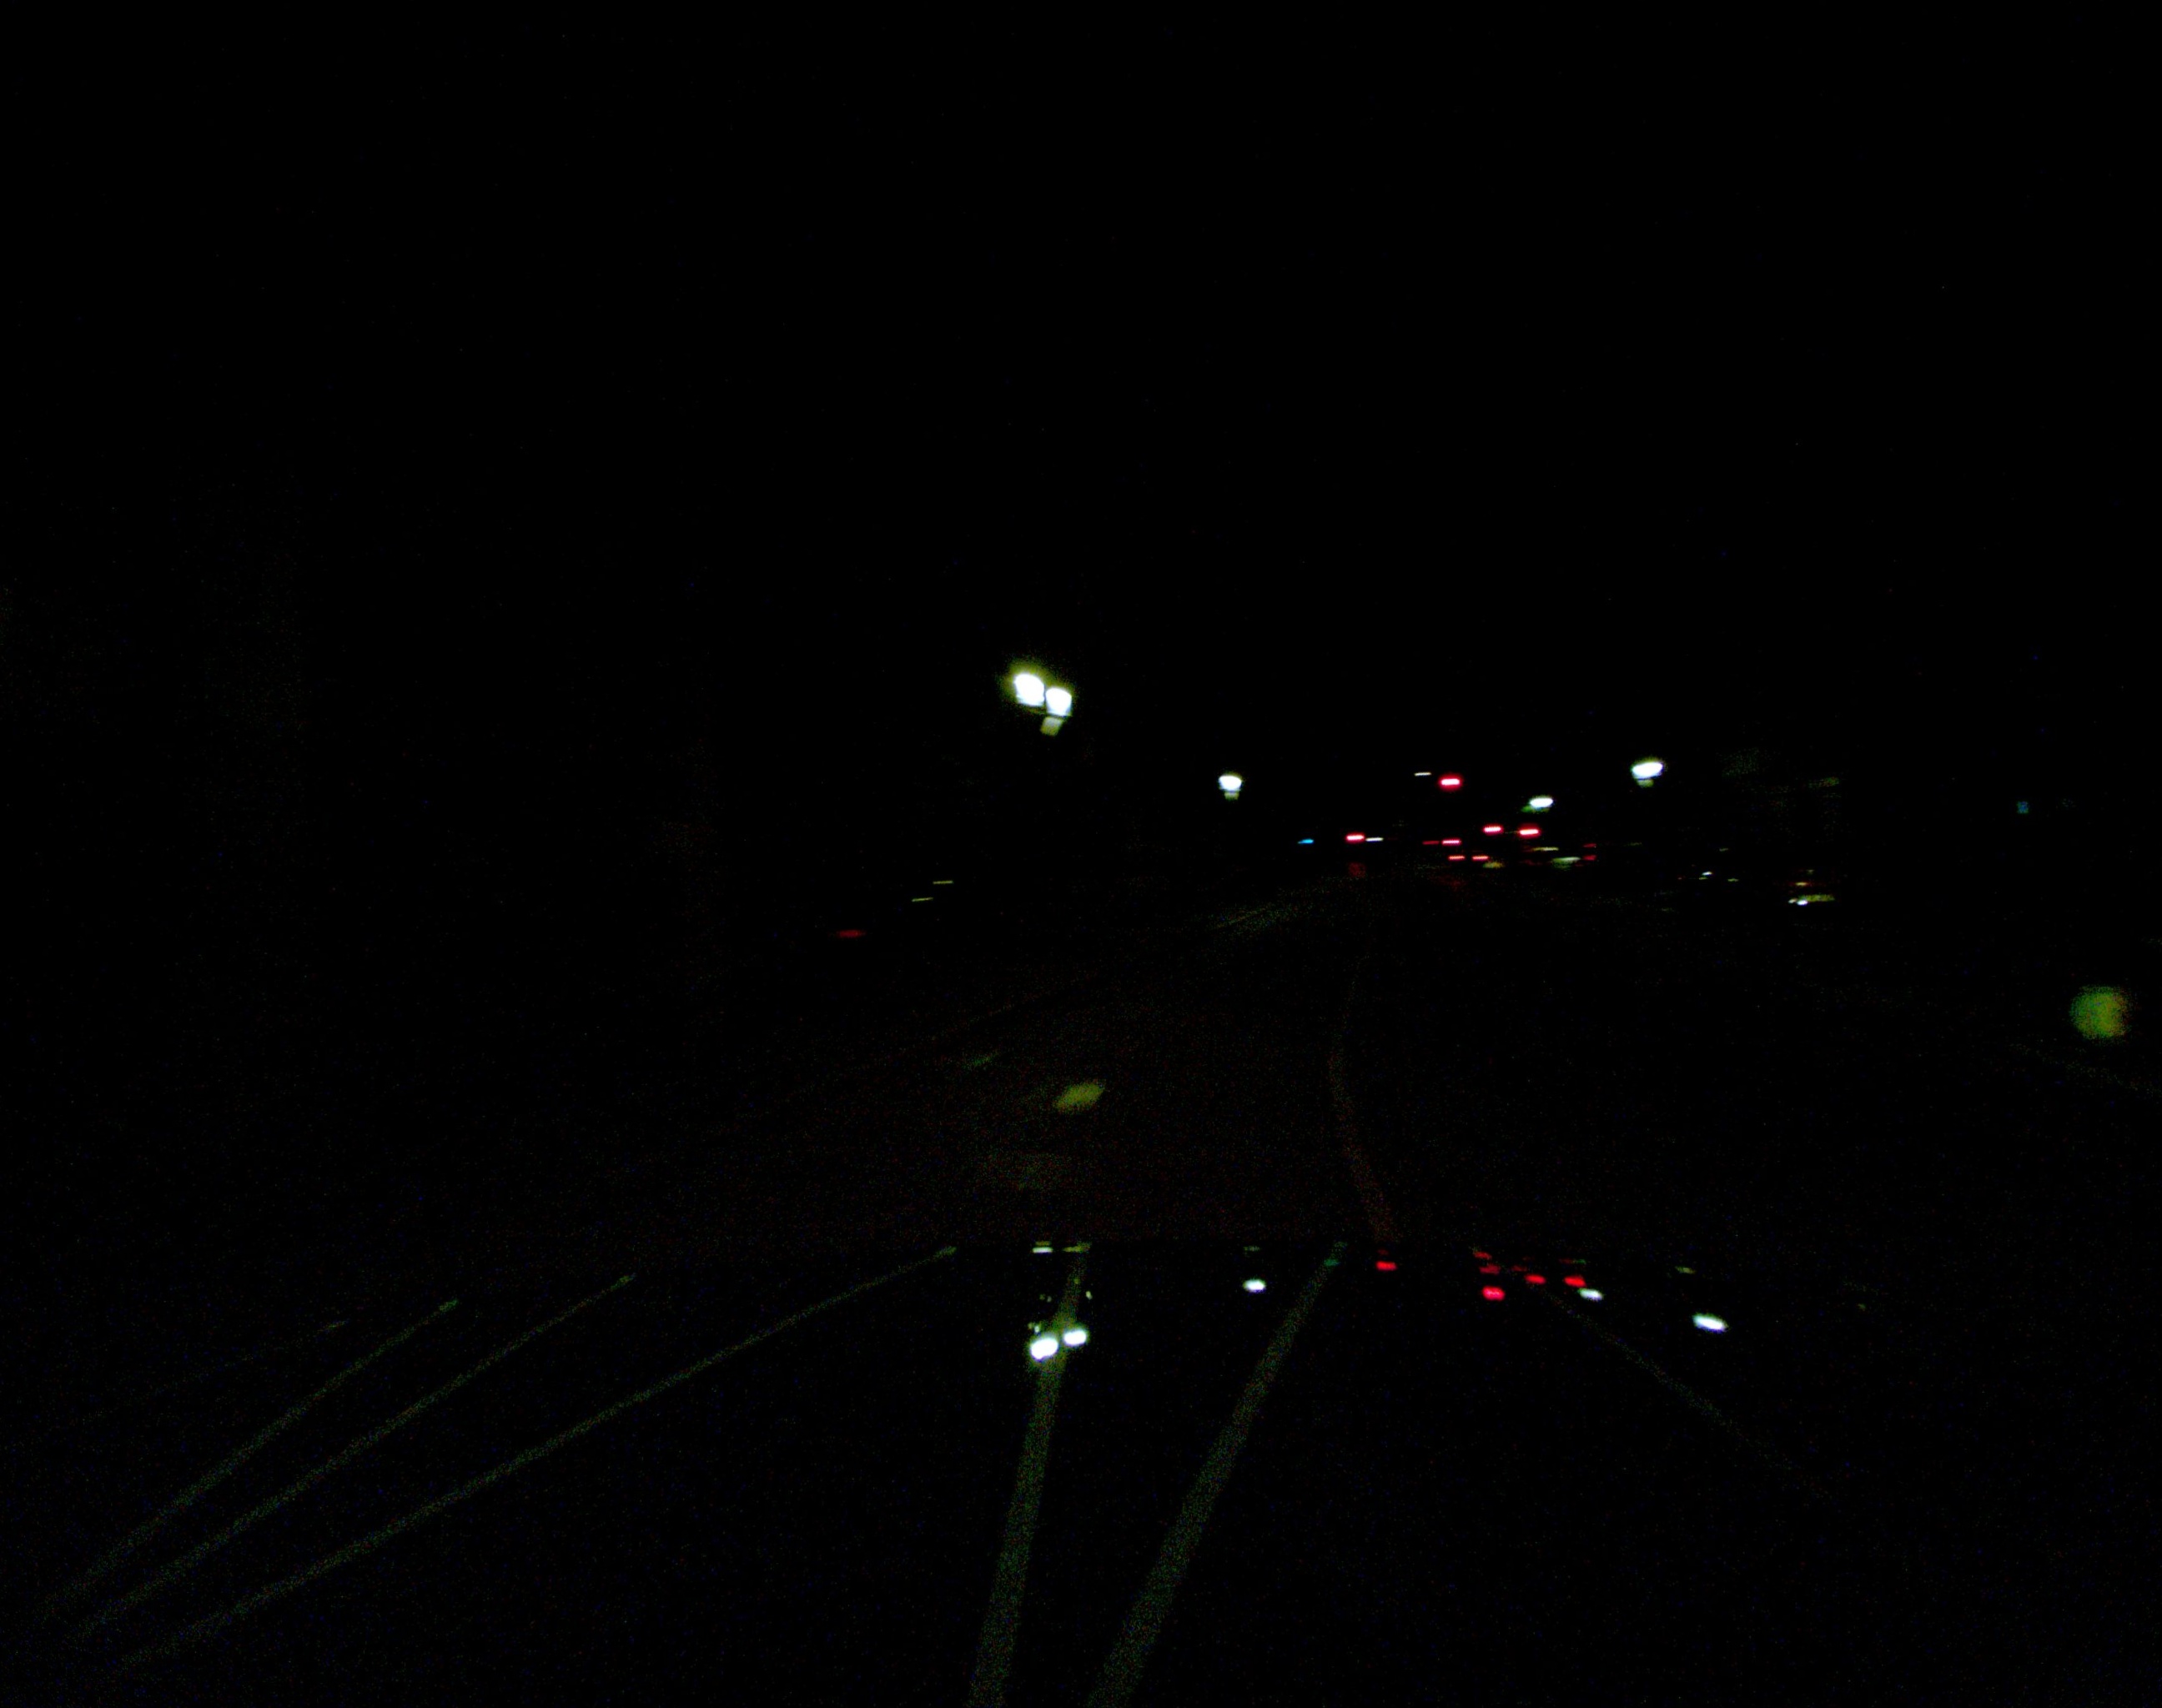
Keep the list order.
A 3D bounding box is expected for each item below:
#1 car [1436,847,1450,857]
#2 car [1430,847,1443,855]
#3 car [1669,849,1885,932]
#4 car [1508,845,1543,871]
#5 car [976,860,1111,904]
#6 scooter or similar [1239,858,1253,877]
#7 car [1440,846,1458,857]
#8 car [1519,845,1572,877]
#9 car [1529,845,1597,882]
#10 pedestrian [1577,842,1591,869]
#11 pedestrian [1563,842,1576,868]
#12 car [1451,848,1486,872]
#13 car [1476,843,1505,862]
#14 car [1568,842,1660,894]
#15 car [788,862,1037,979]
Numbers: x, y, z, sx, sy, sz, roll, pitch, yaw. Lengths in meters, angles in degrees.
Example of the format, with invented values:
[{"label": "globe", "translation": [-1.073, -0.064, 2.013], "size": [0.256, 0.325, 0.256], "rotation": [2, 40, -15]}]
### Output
[{"label": "car", "translation": [52.934, -0.294, 111.192], "size": [1.553, 1.425, 4.354], "rotation": [-3, 0, 23]}, {"label": "car", "translation": [61.429, -0.503, 131.349], "size": [1.630, 1.455, 3.519], "rotation": [0, 1, 19]}, {"label": "car", "translation": [13.688, 0.642, 15.299], "size": [1.786, 1.407, 4.133], "rotation": [-3, -1, 21]}, {"label": "car", "translation": [27.996, 0.247, 47.943], "size": [1.594, 1.482, 3.706], "rotation": [-4, -1, 27]}, {"label": "car", "translation": [-1.347, 0.943, 26.657], "size": [4.429, 1.451, 1.793], "rotation": [-1, 0, 28]}, {"label": "scooter or similar", "translation": [10.405, 0.858, 47.993], "size": [0.422, 1.124, 1.496], "rotation": [0, 1, 30]}, {"label": "car", "translation": [50.309, -0.301, 103.952], "size": [1.863, 1.425, 4.410], "rotation": [-2, 0, 20]}, {"label": "car", "translation": [24.076, 0.321, 39.510], "size": [1.786, 1.482, 4.336], "rotation": [-4, -1, 25]}, {"label": "car", "translation": [21.710, 0.402, 34.364], "size": [1.786, 1.482, 4.006], "rotation": [-4, -1, 21]}, {"label": "pedestrian", "translation": [31.663, 0.064, 47.862], "size": [0.710, 1.680, 0.999], "rotation": [0, 1, 33]}, {"label": "pedestrian", "translation": [31.098, 0.060, 48.361], "size": [0.710, 1.680, 1.126], "rotation": [0, 1, 33]}, {"label": "car", "translation": [24.829, 0.346, 48.731], "size": [1.716, 1.421, 4.006], "rotation": [0, 1, 23]}, {"label": "car", "translation": [36.102, -0.158, 67.083], "size": [1.888, 1.587, 4.030], "rotation": [-3, 0, 24]}, {"label": "car", "translation": [18.645, 0.453, 26.794], "size": [1.786, 1.572, 4.418], "rotation": [-4, -1, 24]}, {"label": "car", "translation": [-2.444, 0.922, 12.488], "size": [1.735, 1.451, 4.734], "rotation": [-2, 0, 19]}]
